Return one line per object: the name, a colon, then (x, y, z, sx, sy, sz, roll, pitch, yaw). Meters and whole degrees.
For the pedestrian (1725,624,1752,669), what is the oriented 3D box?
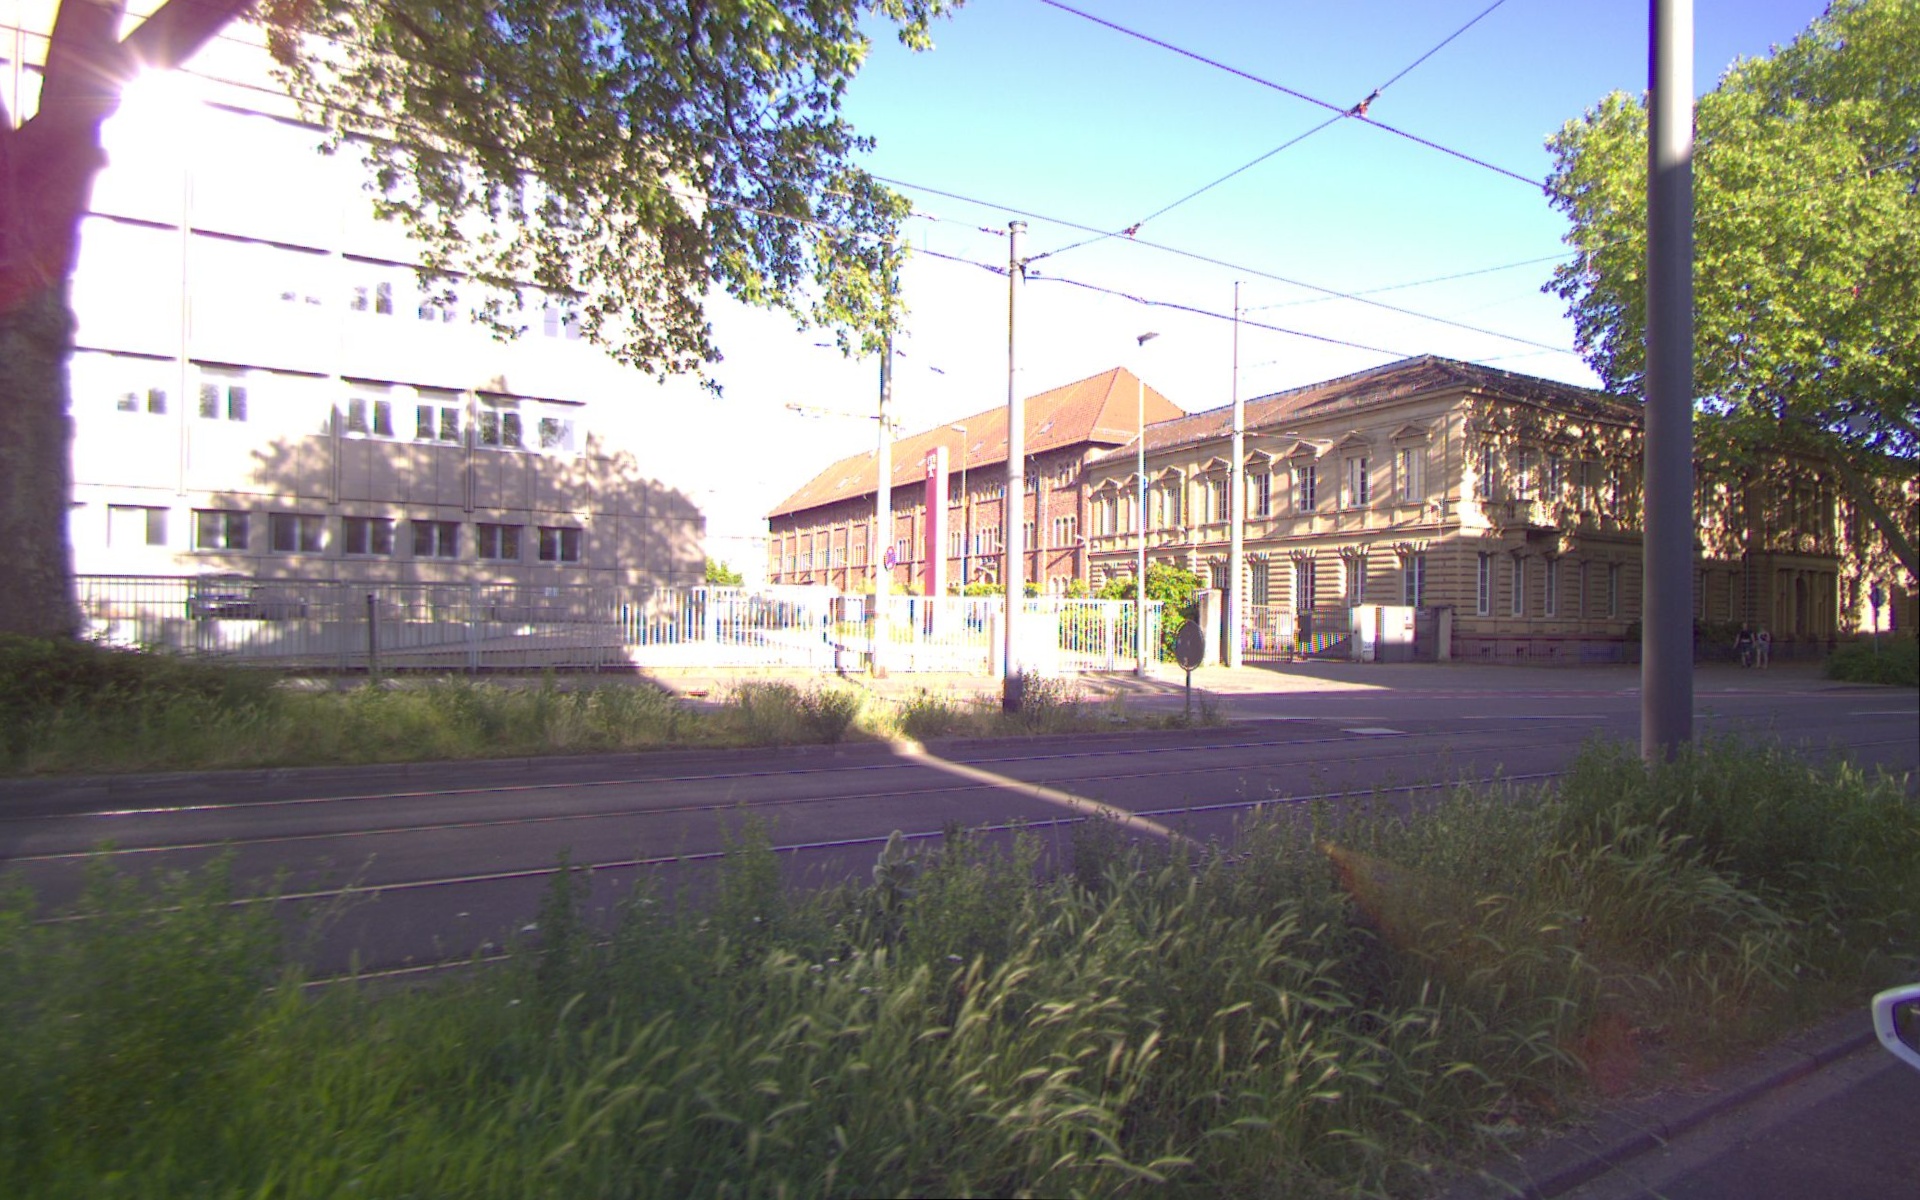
pedestrian: (30.499, 1.826, 39.345, 0.656, 1.720, 0.666, 2, 0, -36)

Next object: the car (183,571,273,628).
car: (-24.225, -0.003, 33.388, 1.831, 1.742, 4.248, 2, 0, -29)

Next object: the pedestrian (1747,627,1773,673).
pedestrian: (30.926, 1.929, 38.820, 0.650, 1.720, 0.629, 2, 0, -36)

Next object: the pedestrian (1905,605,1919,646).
pedestrian: (44.470, 1.202, 46.646, 0.830, 1.874, 0.714, 2, 0, -36)
